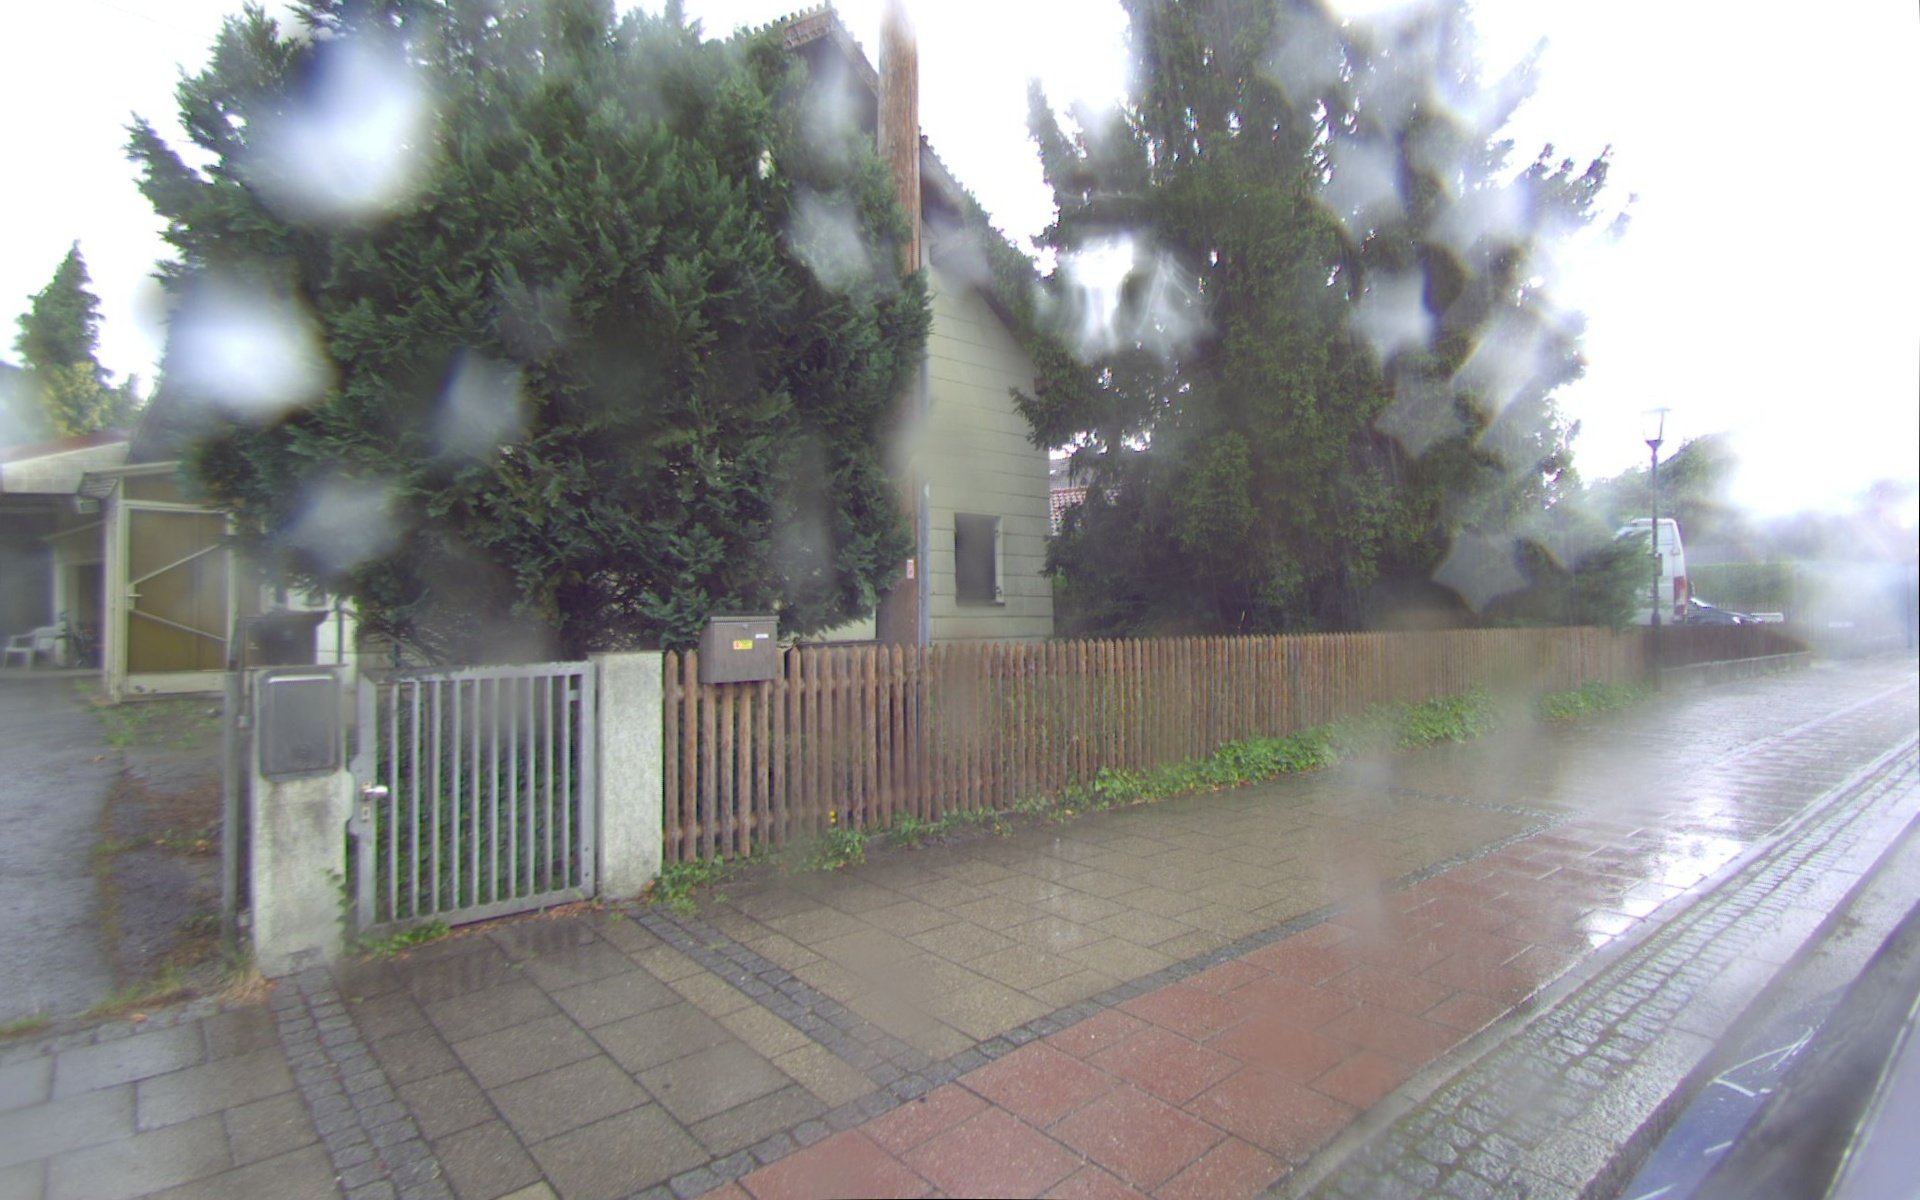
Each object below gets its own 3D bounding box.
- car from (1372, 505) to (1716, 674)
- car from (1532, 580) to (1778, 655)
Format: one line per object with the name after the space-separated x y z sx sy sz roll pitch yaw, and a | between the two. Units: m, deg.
10.809 -0.277 19.022 5.298 2.761 1.971 3 2 41 | car
15.852 0.327 23.223 4.428 1.438 1.803 3 3 42 | car
